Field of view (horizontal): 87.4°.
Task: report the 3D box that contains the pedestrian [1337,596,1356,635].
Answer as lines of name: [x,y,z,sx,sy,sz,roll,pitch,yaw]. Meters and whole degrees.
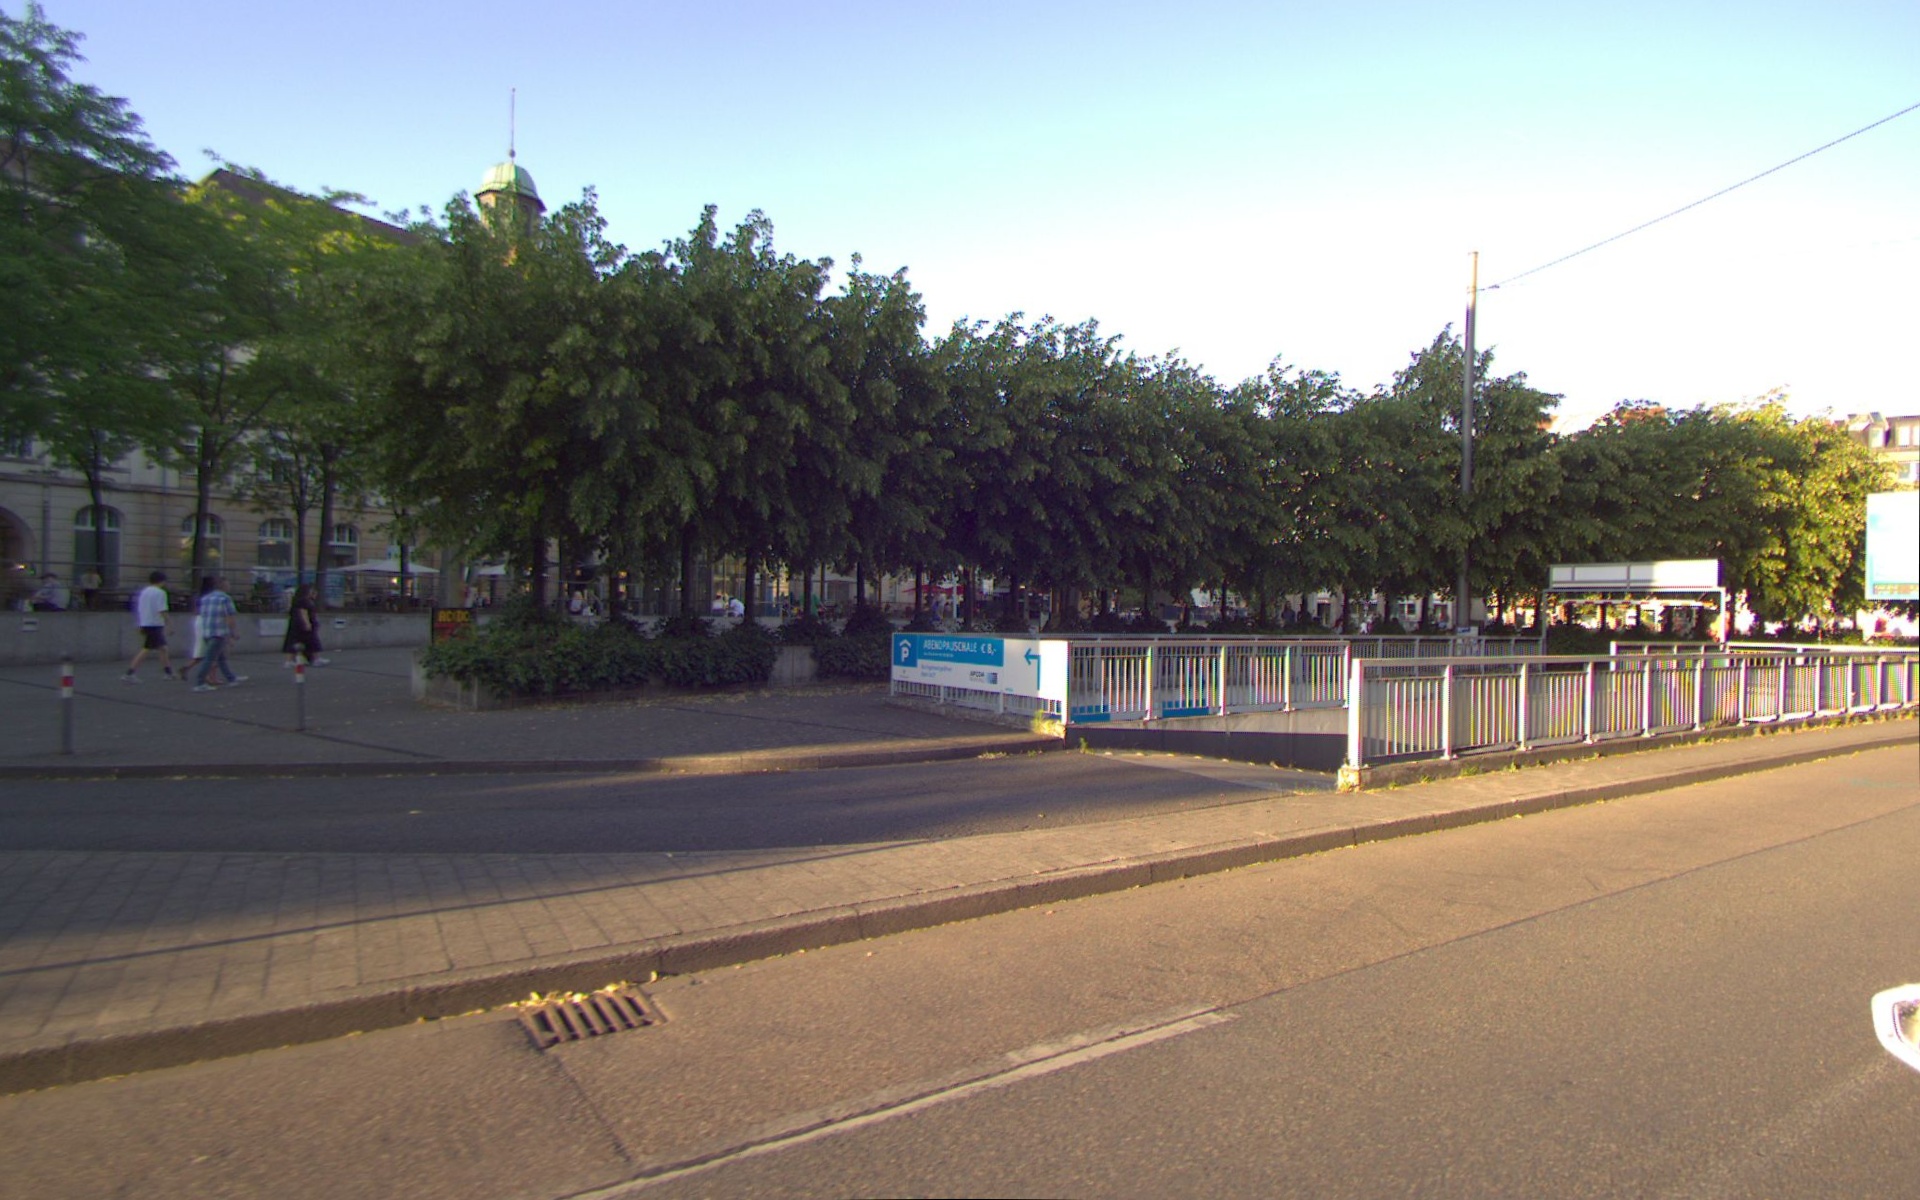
pedestrian: [19.744,0.778,51.339,0.790,1.974,0.686,1,0,28]

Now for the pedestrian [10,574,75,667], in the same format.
pedestrian: [-18.655,0.405,20.421,1.103,1.843,0.701,1,0,32]

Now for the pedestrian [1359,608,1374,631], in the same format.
pedestrian: [27.296,1.325,67.484,0.829,1.520,0.947,1,0,27]

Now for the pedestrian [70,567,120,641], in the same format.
pedestrian: [-24.397,0.110,28.332,1.049,2.040,0.830,1,0,37]

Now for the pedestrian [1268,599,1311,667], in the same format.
pedestrian: [10.142,0.999,30.948,0.902,2.040,0.913,1,0,-10]

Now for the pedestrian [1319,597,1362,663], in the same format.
pedestrian: [12.064,0.947,31.849,0.902,2.040,0.913,1,0,-10]

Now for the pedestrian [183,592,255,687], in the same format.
pedestrian: [-11.945,0.623,16.203,0.592,1.506,0.716,0,1,5]

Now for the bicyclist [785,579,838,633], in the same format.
bicyclist: [-4.270,0.164,28.922,1.359,1.529,0.750,1,0,37]

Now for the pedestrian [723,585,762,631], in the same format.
pedestrian: [-7.945,0.295,36.697,1.245,1.669,0.707,1,0,31]

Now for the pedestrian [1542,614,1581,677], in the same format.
pedestrian: [19.382,1.462,32.369,0.719,1.974,0.801,1,0,-20]

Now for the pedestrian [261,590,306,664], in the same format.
pedestrian: [-16.356,0.635,24.296,0.790,1.750,0.621,1,0,32]

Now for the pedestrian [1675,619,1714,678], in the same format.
pedestrian: [25.005,1.653,34.211,0.719,1.974,0.801,1,0,-20]

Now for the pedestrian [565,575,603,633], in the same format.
pedestrian: [-11.676,0.123,31.181,0.905,1.750,0.701,1,0,32]

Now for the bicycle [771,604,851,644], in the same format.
bicycle: [-4.259,0.683,28.882,0.936,1.116,2.321,1,-1,35]

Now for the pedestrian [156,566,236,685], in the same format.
pedestrian: [-12.521,0.409,16.485,0.701,1.900,0.781,0,1,-4]

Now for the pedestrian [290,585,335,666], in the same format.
pedestrian: [-12.793,0.498,19.848,0.670,1.563,0.590,1,1,41]

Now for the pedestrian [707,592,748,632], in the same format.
pedestrian: [-8.351,0.415,36.070,1.245,1.398,0.736,1,0,30]

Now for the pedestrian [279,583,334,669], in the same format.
pedestrian: [-12.548,0.487,19.287,0.725,1.603,0.788,-1,1,-44]

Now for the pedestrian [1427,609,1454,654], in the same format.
pedestrian: [21.381,1.391,44.699,0.720,1.974,0.800,1,0,-25]

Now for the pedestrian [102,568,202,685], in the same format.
pedestrian: [-13.353,0.424,16.619,0.965,1.878,0.890,0,1,17]

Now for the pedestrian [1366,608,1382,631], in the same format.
pedestrian: [27.777,1.307,67.374,0.962,1.520,0.988,1,0,26]

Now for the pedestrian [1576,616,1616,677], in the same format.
pedestrian: [20.932,1.513,33.063,0.719,1.974,0.801,1,0,-20]

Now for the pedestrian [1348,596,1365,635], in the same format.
pedestrian: [20.199,0.786,51.162,0.716,1.974,0.805,1,0,17]

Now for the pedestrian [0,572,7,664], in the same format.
pedestrian: [-19.224,0.340,19.592,0.784,1.805,0.760,1,0,35]

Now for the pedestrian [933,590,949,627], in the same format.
pedestrian: [-1.029,0.465,54.829,0.715,1.974,0.805,1,0,7]

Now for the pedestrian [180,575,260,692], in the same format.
pedestrian: [-11.396,0.506,15.484,0.701,1.769,0.688,0,1,4]

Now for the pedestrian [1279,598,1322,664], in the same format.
pedestrian: [10.717,0.961,31.639,0.902,2.040,0.913,1,0,-10]
